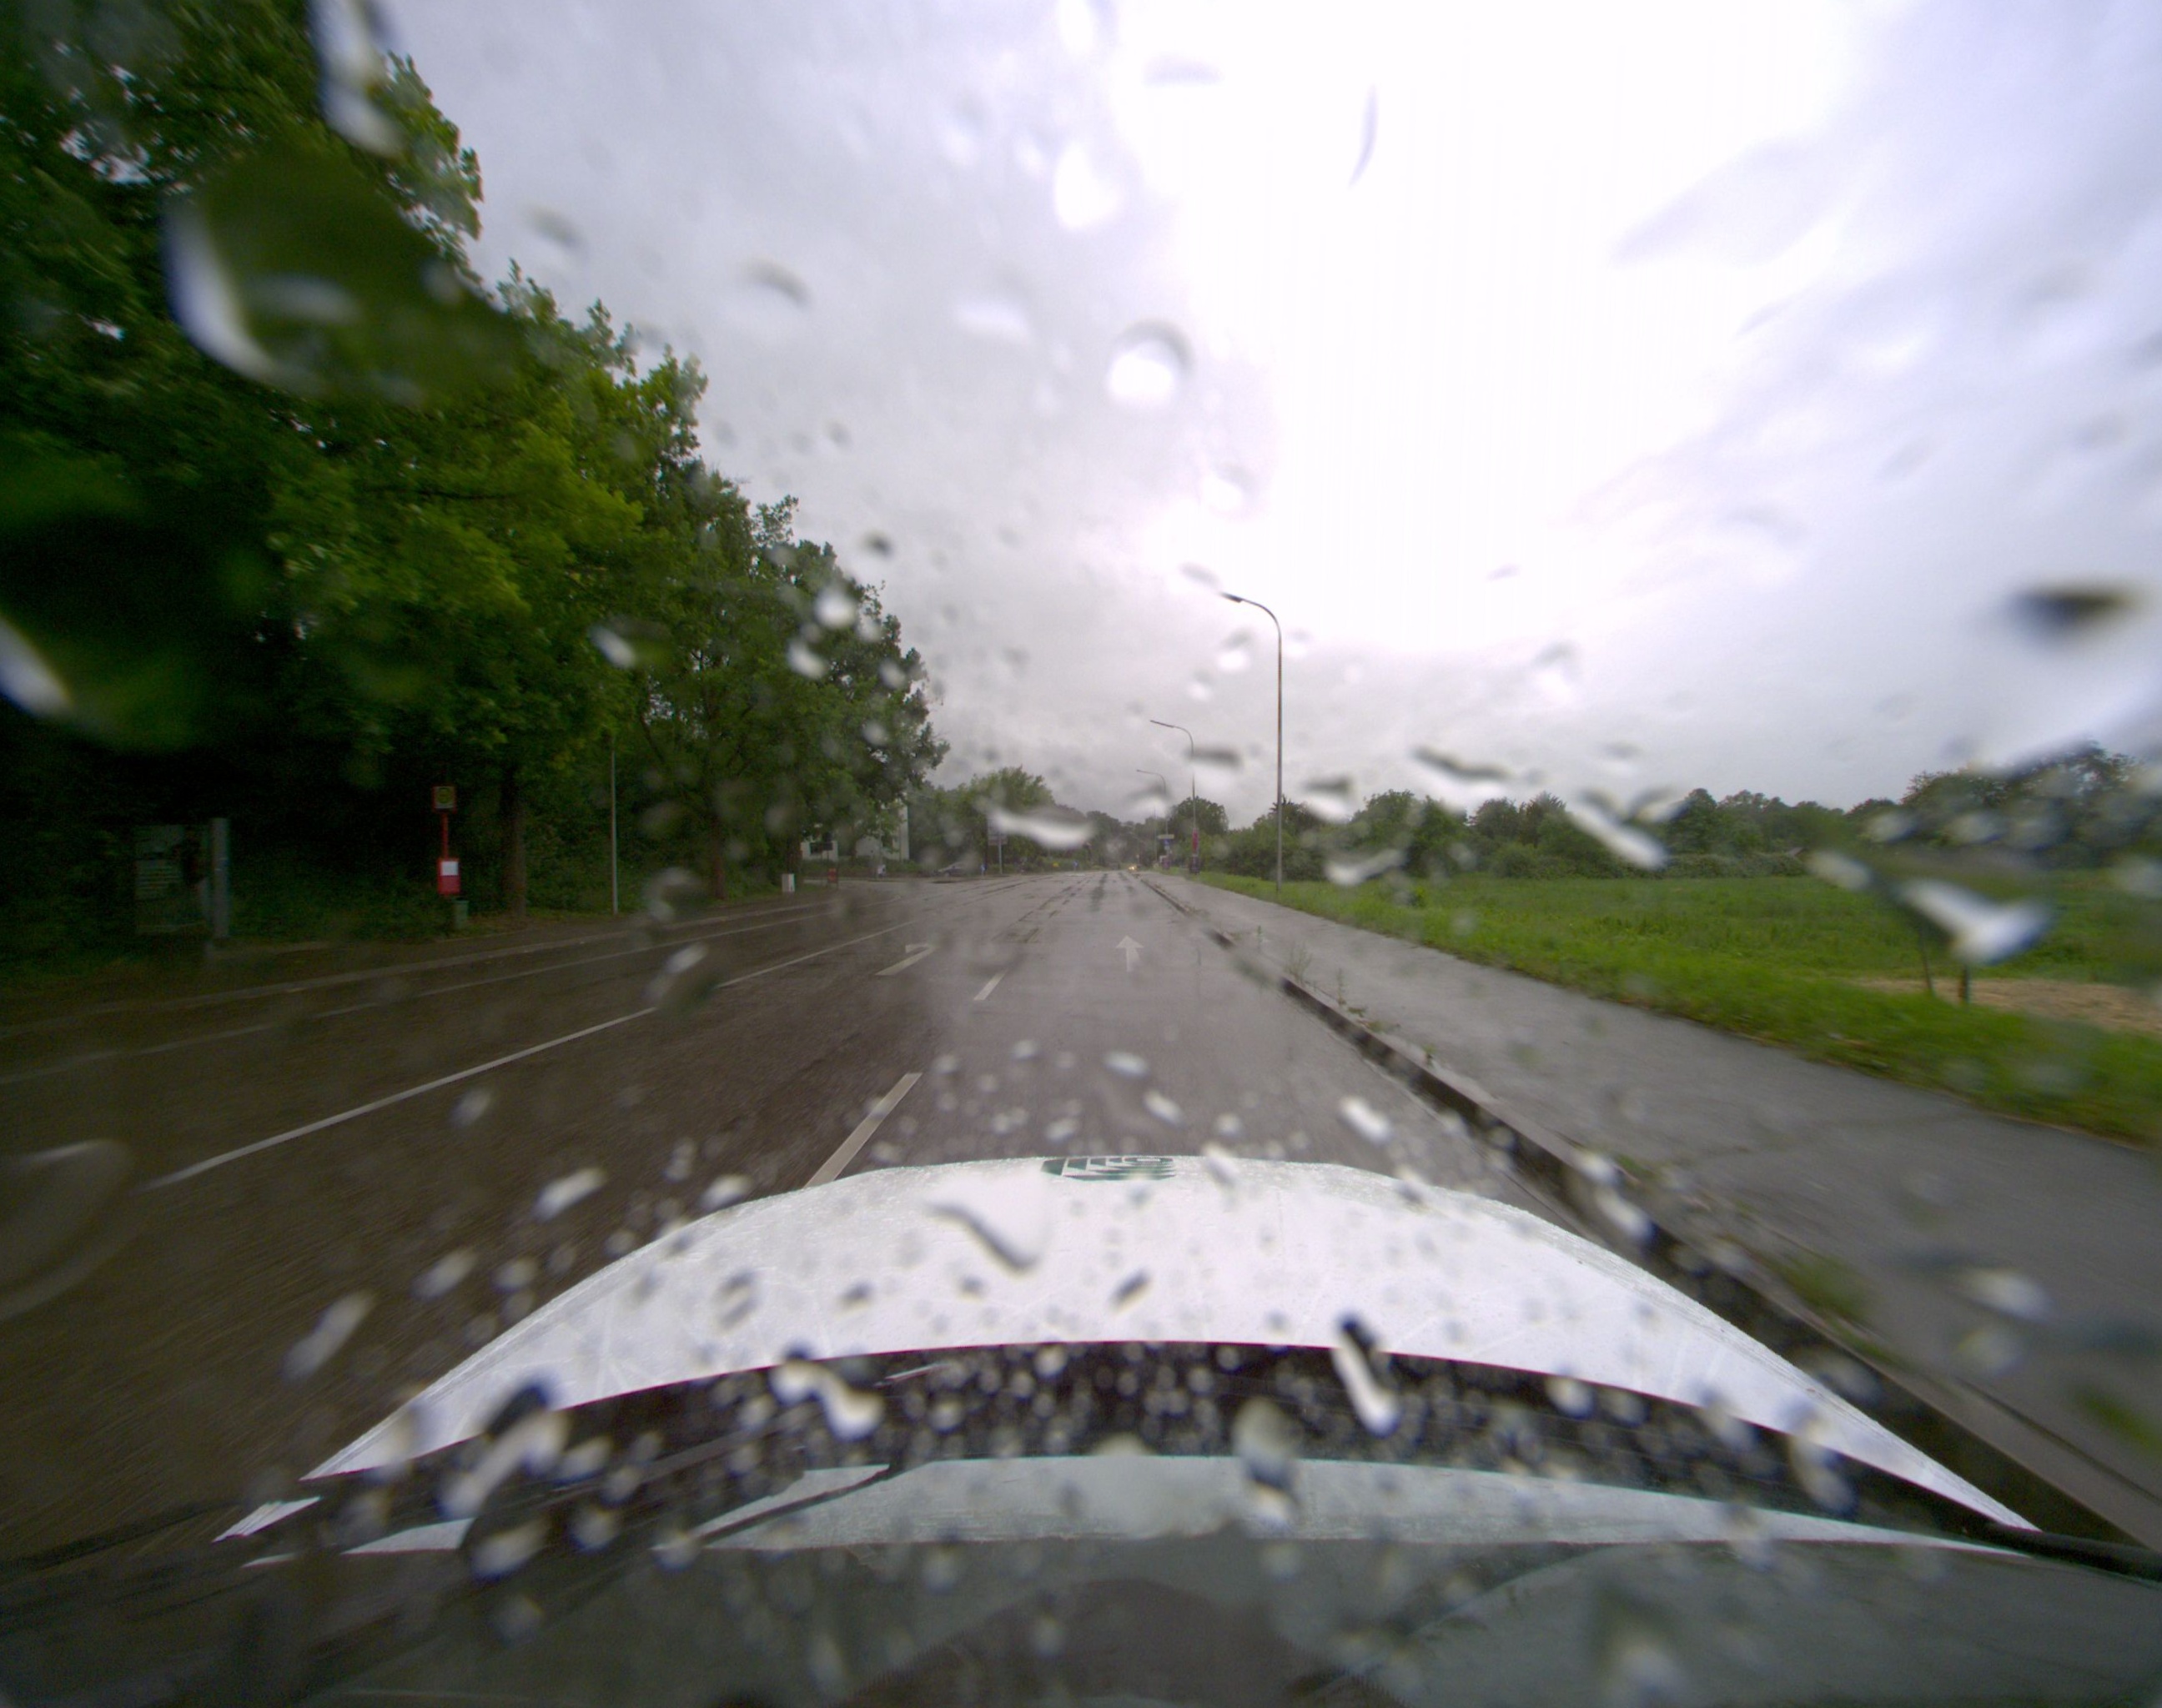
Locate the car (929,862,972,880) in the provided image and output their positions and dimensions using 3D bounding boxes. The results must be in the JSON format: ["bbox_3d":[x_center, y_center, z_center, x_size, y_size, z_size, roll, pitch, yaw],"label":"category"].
[{"bbox_3d":[-13.512,1.703,84.298,4.012,1.762,1.783,0,-1,-30],"label":"car"}]
